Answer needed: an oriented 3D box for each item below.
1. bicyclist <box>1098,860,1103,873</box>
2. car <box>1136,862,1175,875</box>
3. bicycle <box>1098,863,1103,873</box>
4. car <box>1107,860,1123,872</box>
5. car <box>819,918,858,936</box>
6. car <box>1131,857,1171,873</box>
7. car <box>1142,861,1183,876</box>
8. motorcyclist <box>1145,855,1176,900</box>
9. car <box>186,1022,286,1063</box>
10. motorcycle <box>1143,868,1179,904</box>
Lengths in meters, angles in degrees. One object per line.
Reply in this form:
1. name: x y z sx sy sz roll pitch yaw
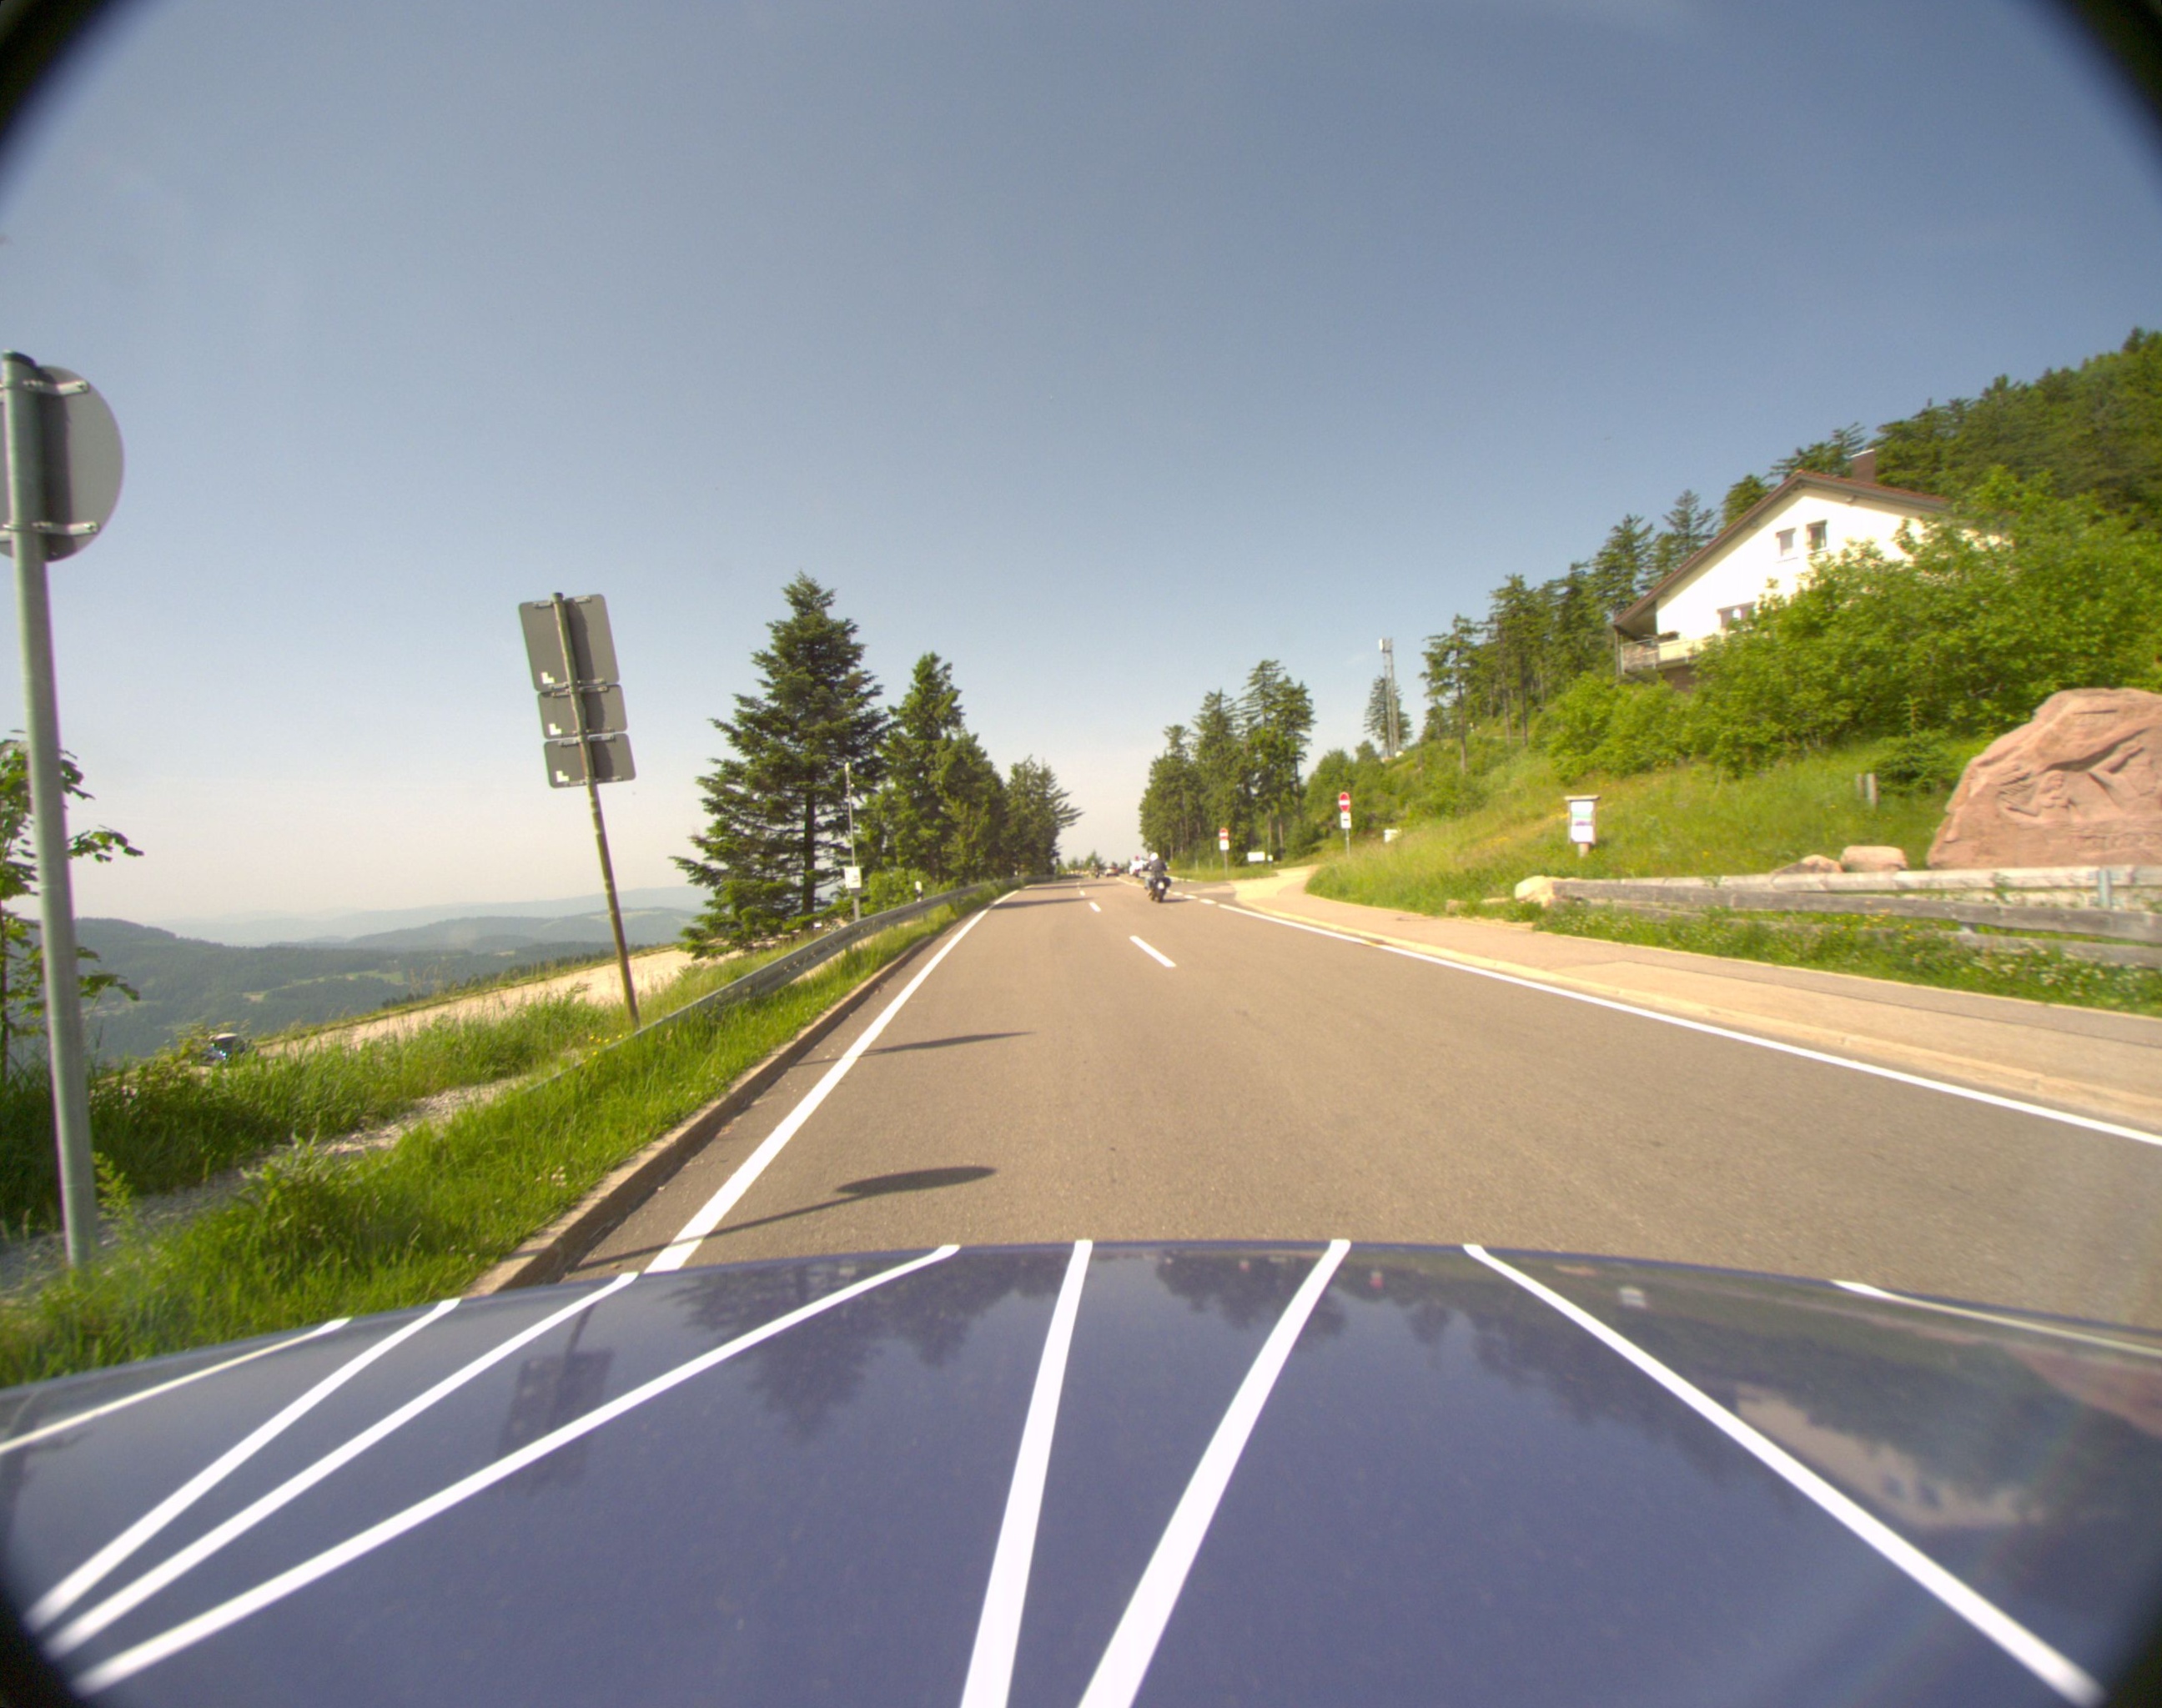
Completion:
1. bicyclist: 2.433 1.544 93.505 0.546 1.519 0.679 -2 0 5
2. car: 8.099 1.582 82.946 3.929 1.365 1.932 -1 0 -2
3. bicycle: 2.431 1.693 93.414 0.546 1.220 1.859 -2 0 4
4. car: 5.232 1.813 115.834 1.997 1.586 4.002 -2 0 8
5. car: -27.513 8.289 86.284 3.772 1.587 1.844 -3 2 13
6. car: 8.722 1.315 94.375 4.730 1.871 1.932 -1 0 -2
7. car: 8.628 1.508 80.312 4.159 1.501 1.932 -1 0 2
8. motorcyclist: 2.633 0.756 25.284 0.841 1.432 1.005 -2 1 -3
9. car: -45.416 10.143 40.886 3.519 1.656 1.803 -3 0 6
10. motorcycle: 2.641 1.049 25.373 0.841 1.089 2.182 -2 0 -3
